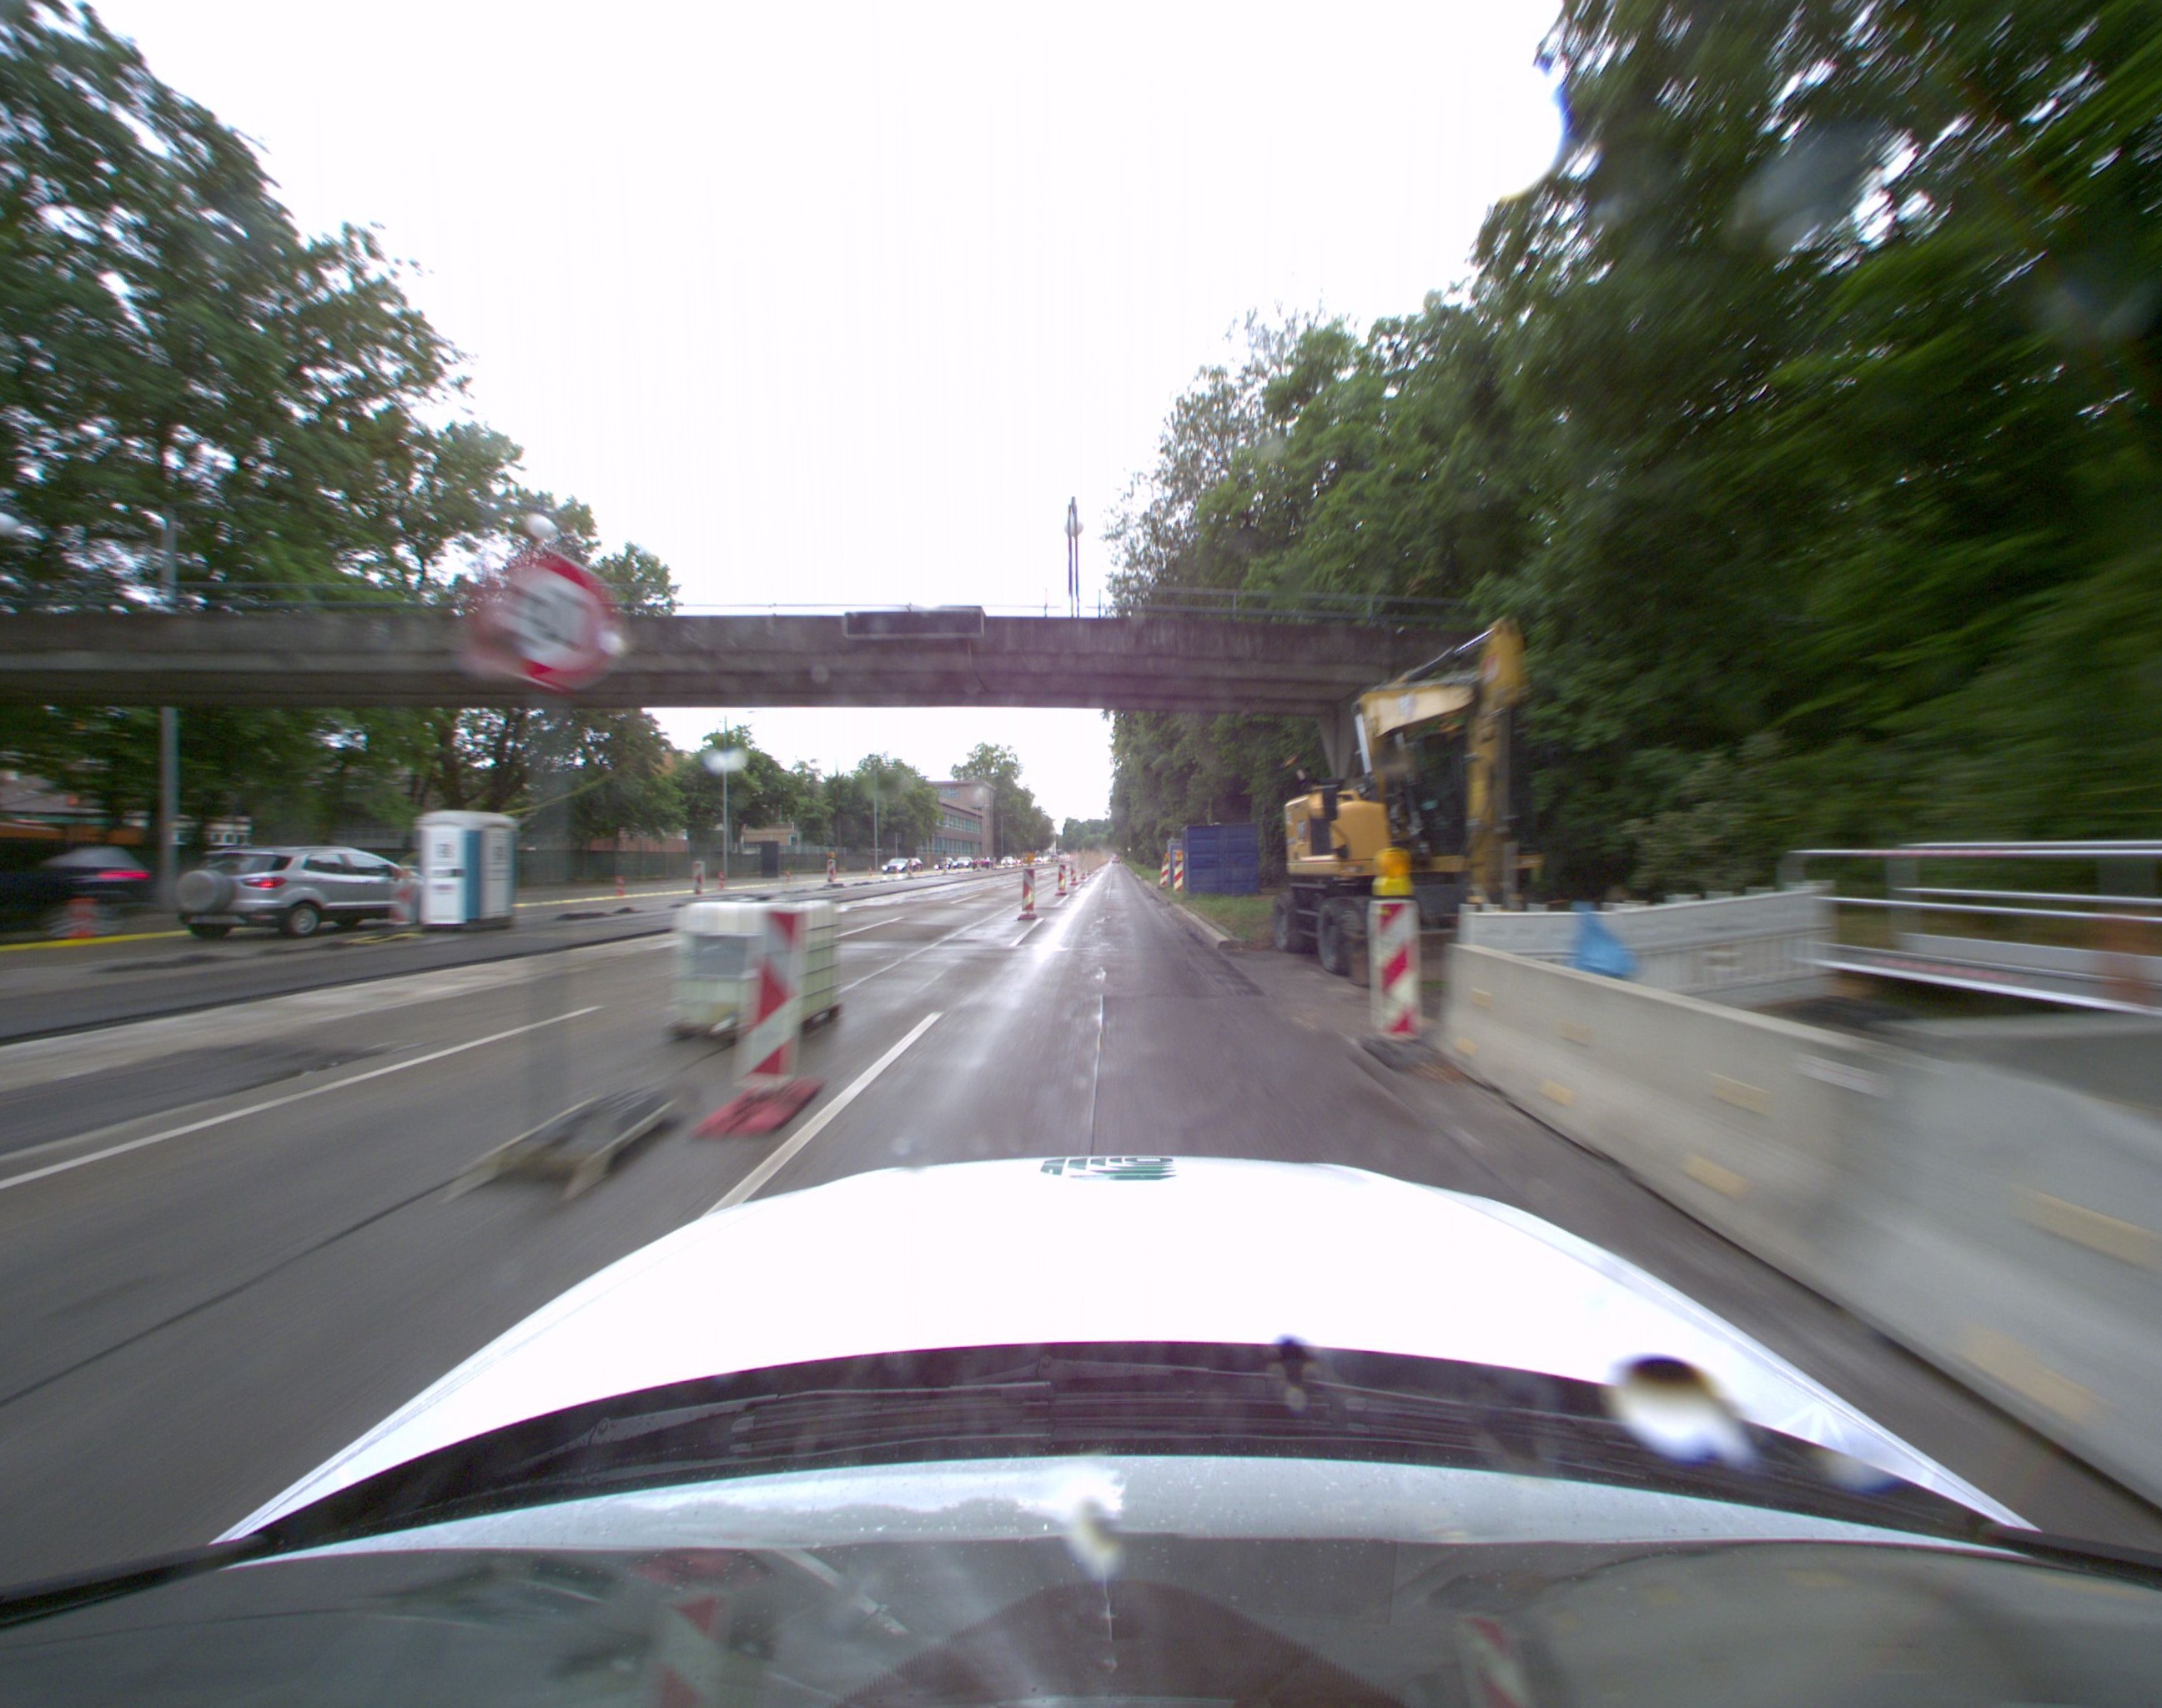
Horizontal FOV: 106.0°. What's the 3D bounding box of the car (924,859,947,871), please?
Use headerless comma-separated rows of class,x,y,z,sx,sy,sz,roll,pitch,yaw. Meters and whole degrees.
car,-18.079,1.377,101.340,1.962,1.442,4.004,-1,0,4

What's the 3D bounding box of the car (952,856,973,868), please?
car,-14.321,0.975,98.656,1.716,1.442,4.003,-1,0,3

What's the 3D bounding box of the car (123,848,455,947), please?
car,-14.475,0.703,15.342,1.882,1.564,4.365,1,0,1

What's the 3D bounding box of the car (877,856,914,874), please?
car,-15.629,0.951,68.728,1.963,1.442,4.003,-1,0,3

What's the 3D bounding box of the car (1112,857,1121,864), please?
car,8.387,1.487,191.290,1.986,1.640,4.001,-1,0,2

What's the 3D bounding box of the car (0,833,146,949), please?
car,-17.898,0.596,12.363,1.963,1.806,4.611,-1,0,3
